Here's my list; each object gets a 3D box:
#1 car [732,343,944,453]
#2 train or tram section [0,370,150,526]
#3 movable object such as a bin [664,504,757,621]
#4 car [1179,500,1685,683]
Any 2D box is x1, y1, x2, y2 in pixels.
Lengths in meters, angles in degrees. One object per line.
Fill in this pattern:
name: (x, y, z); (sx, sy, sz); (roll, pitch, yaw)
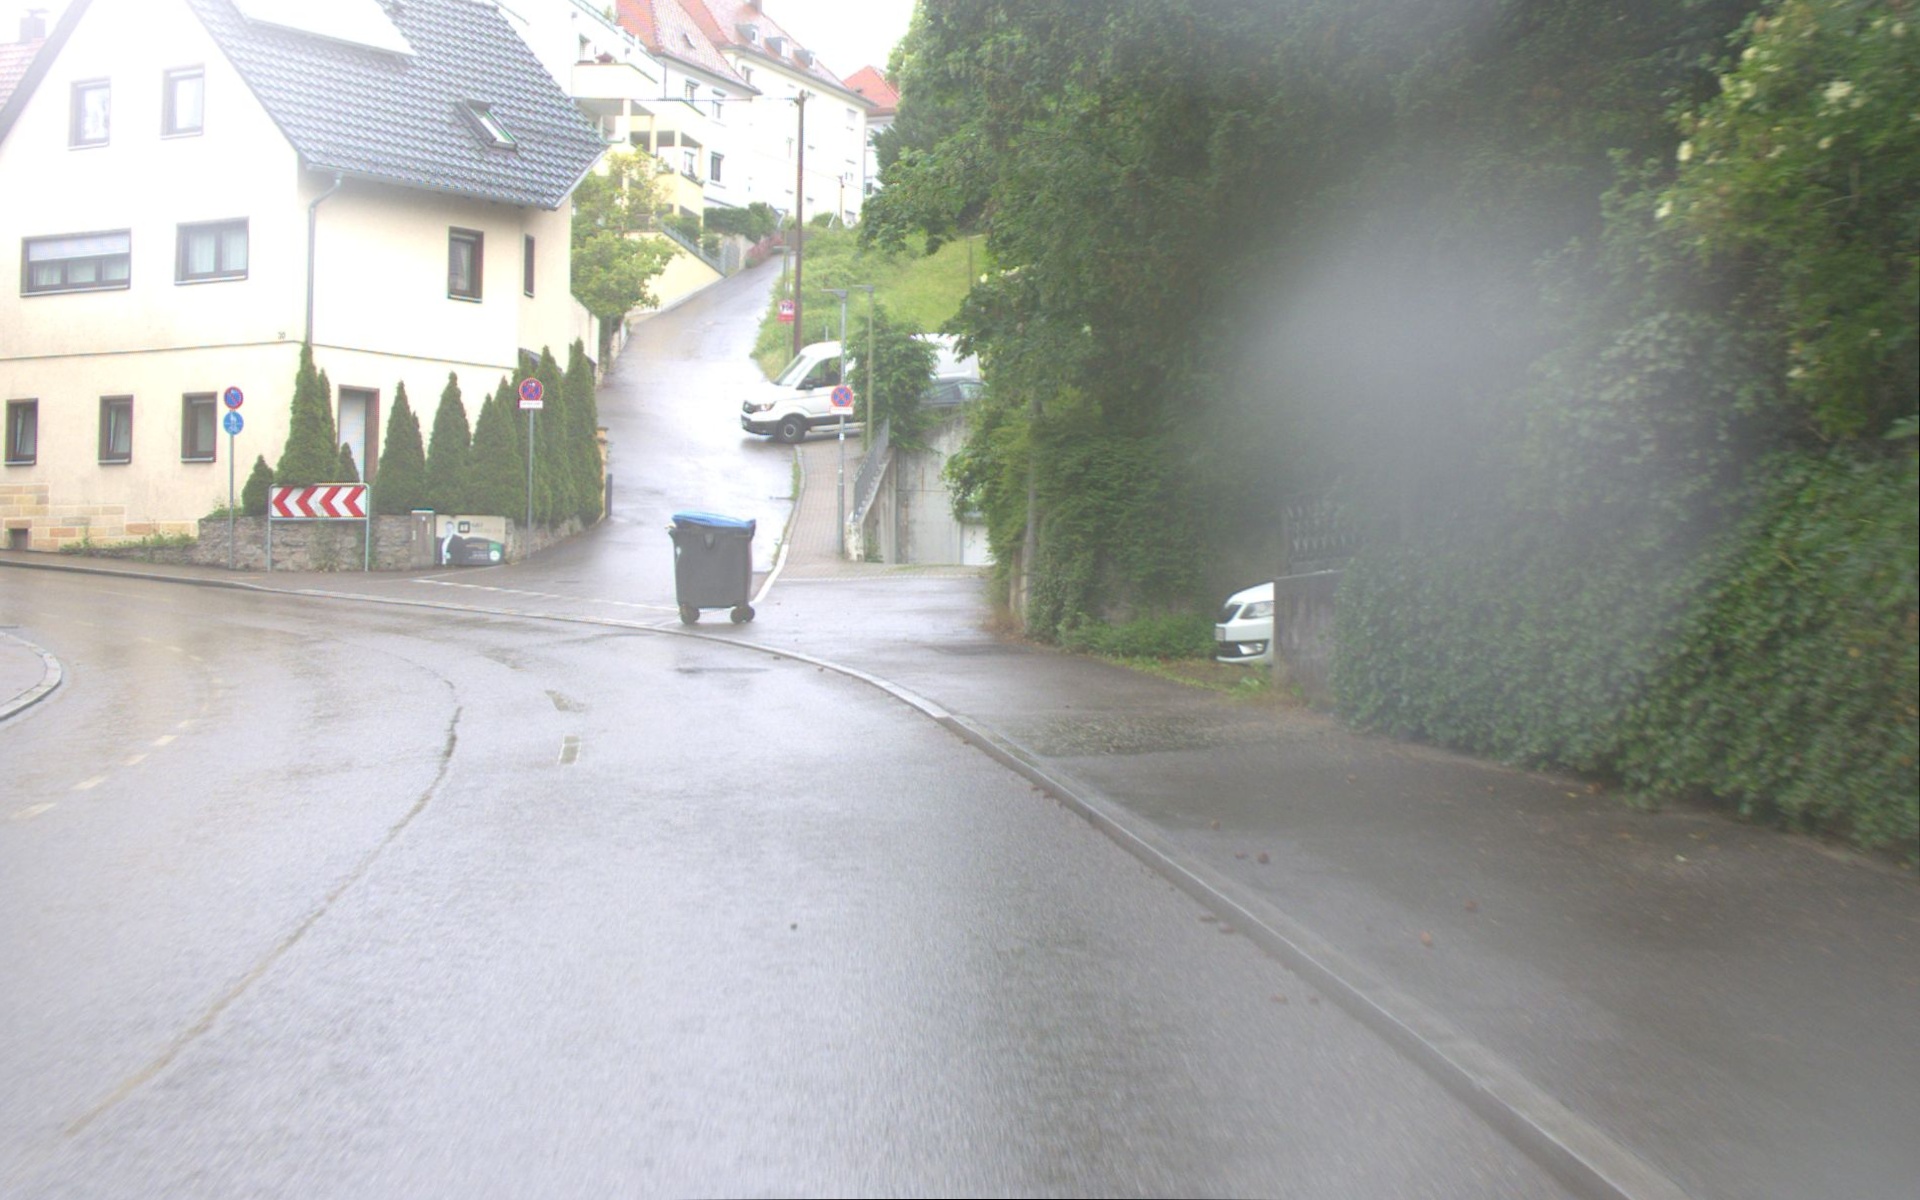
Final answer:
car: (-3.029, -4.983, 84.860); (4.941, 2.560, 1.905); (-2, 2, -11)
train or tram section: (-20.214, -3.158, 71.645); (2.362, 3.192, 6.858); (1, 2, 31)
movable object such as a bin: (-3.174, -0.492, 43.810); (1.081, 1.437, 1.458); (1, 2, -1)
car: (4.166, -0.107, 30.765); (4.142, 1.471, 1.905); (-2, 2, -4)
